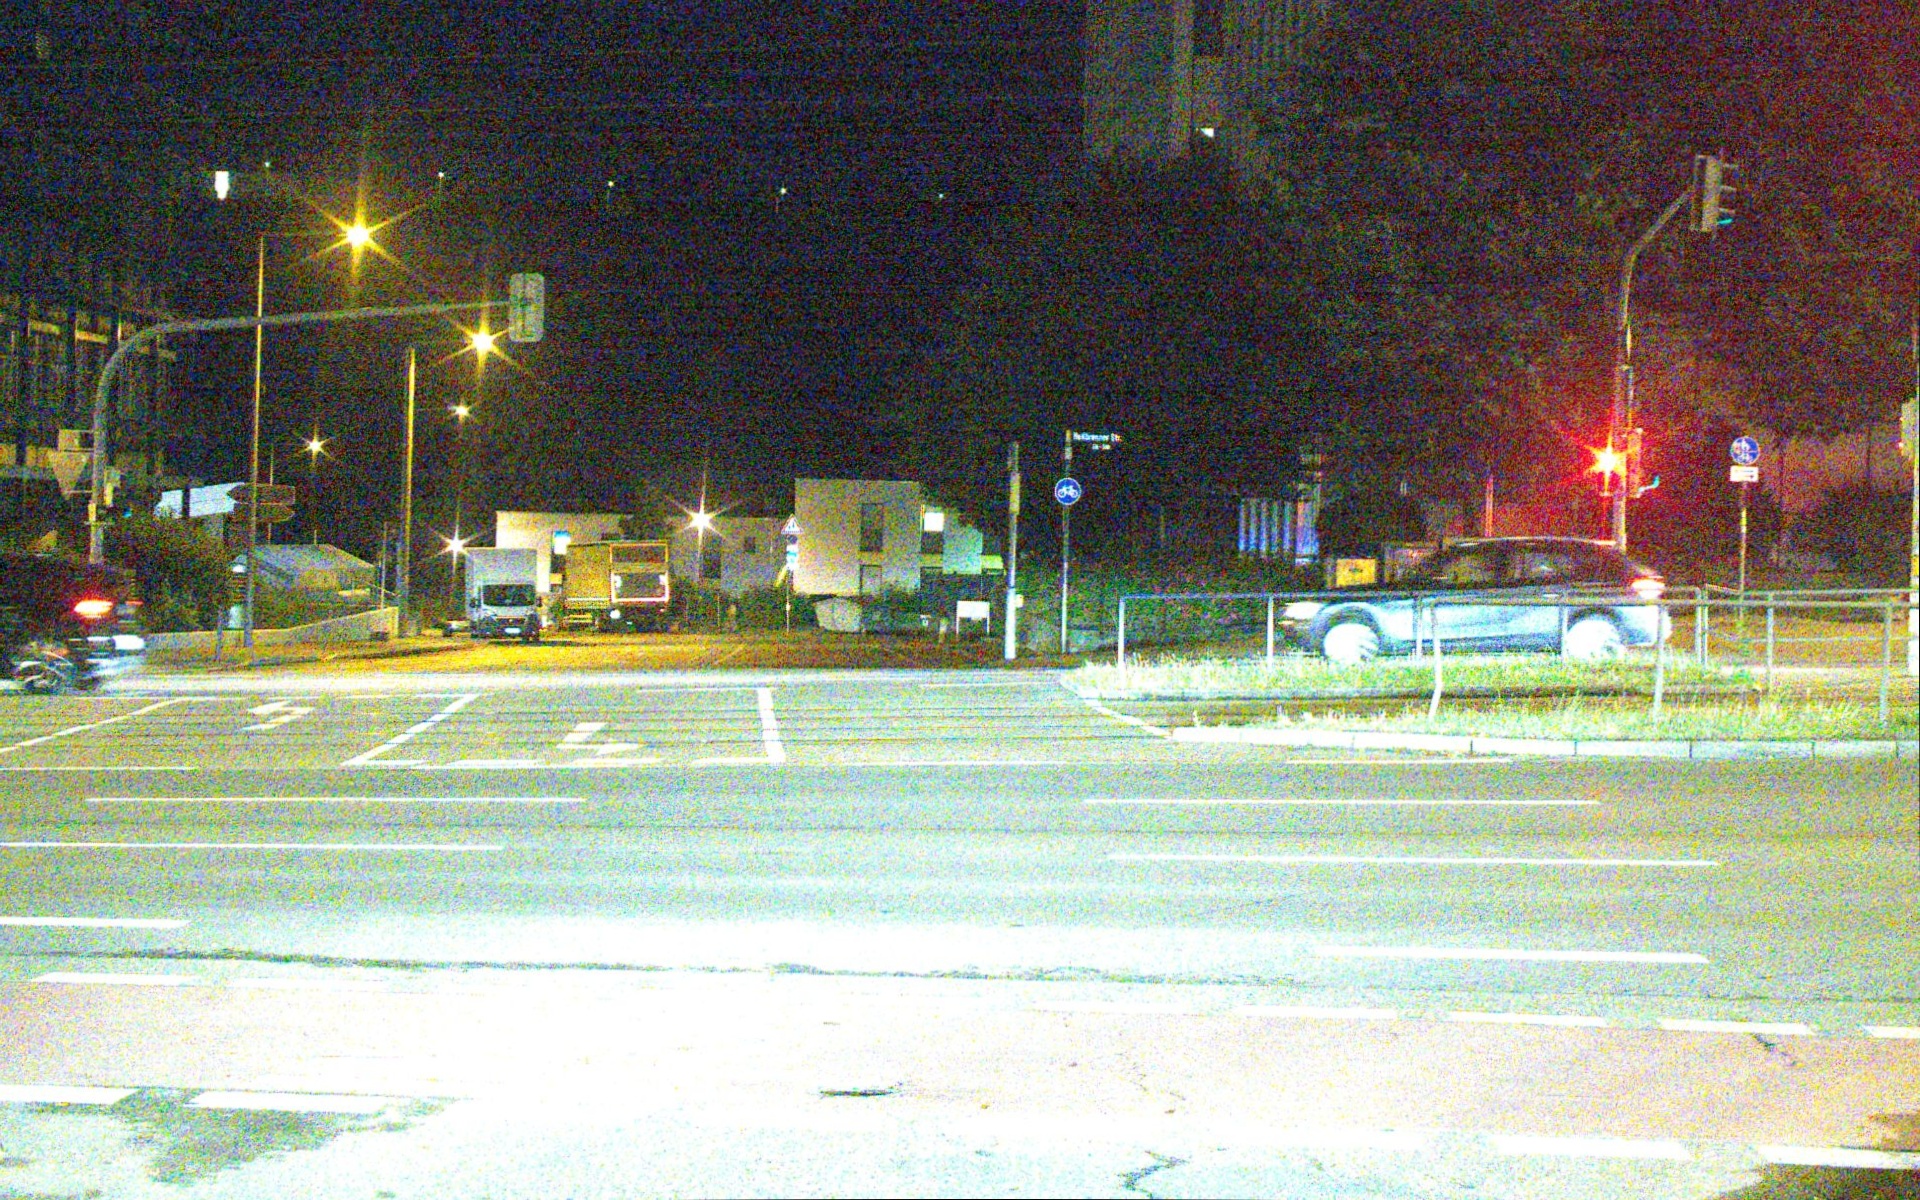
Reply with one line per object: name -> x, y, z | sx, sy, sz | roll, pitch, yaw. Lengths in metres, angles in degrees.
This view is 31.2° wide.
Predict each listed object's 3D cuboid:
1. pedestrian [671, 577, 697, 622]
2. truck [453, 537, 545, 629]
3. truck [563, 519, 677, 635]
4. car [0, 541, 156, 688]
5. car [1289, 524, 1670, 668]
pedestrian -> -11.838, -0.018, 147.520 | 0.849, 1.905, 1.007 | 1, 0, -18
truck -> -16.082, -0.582, 119.646 | 2.417, 3.078, 6.439 | 1, 0, -14
truck -> -14.774, -0.990, 148.848 | 3.359, 4.826, 7.908 | 1, 0, -17
car -> -11.117, 0.152, 38.108 | 3.987, 1.579, 1.804 | 0, 1, -1
car -> 6.004, -0.050, 40.107 | 4.234, 1.579, 1.803 | 1, 0, 4
